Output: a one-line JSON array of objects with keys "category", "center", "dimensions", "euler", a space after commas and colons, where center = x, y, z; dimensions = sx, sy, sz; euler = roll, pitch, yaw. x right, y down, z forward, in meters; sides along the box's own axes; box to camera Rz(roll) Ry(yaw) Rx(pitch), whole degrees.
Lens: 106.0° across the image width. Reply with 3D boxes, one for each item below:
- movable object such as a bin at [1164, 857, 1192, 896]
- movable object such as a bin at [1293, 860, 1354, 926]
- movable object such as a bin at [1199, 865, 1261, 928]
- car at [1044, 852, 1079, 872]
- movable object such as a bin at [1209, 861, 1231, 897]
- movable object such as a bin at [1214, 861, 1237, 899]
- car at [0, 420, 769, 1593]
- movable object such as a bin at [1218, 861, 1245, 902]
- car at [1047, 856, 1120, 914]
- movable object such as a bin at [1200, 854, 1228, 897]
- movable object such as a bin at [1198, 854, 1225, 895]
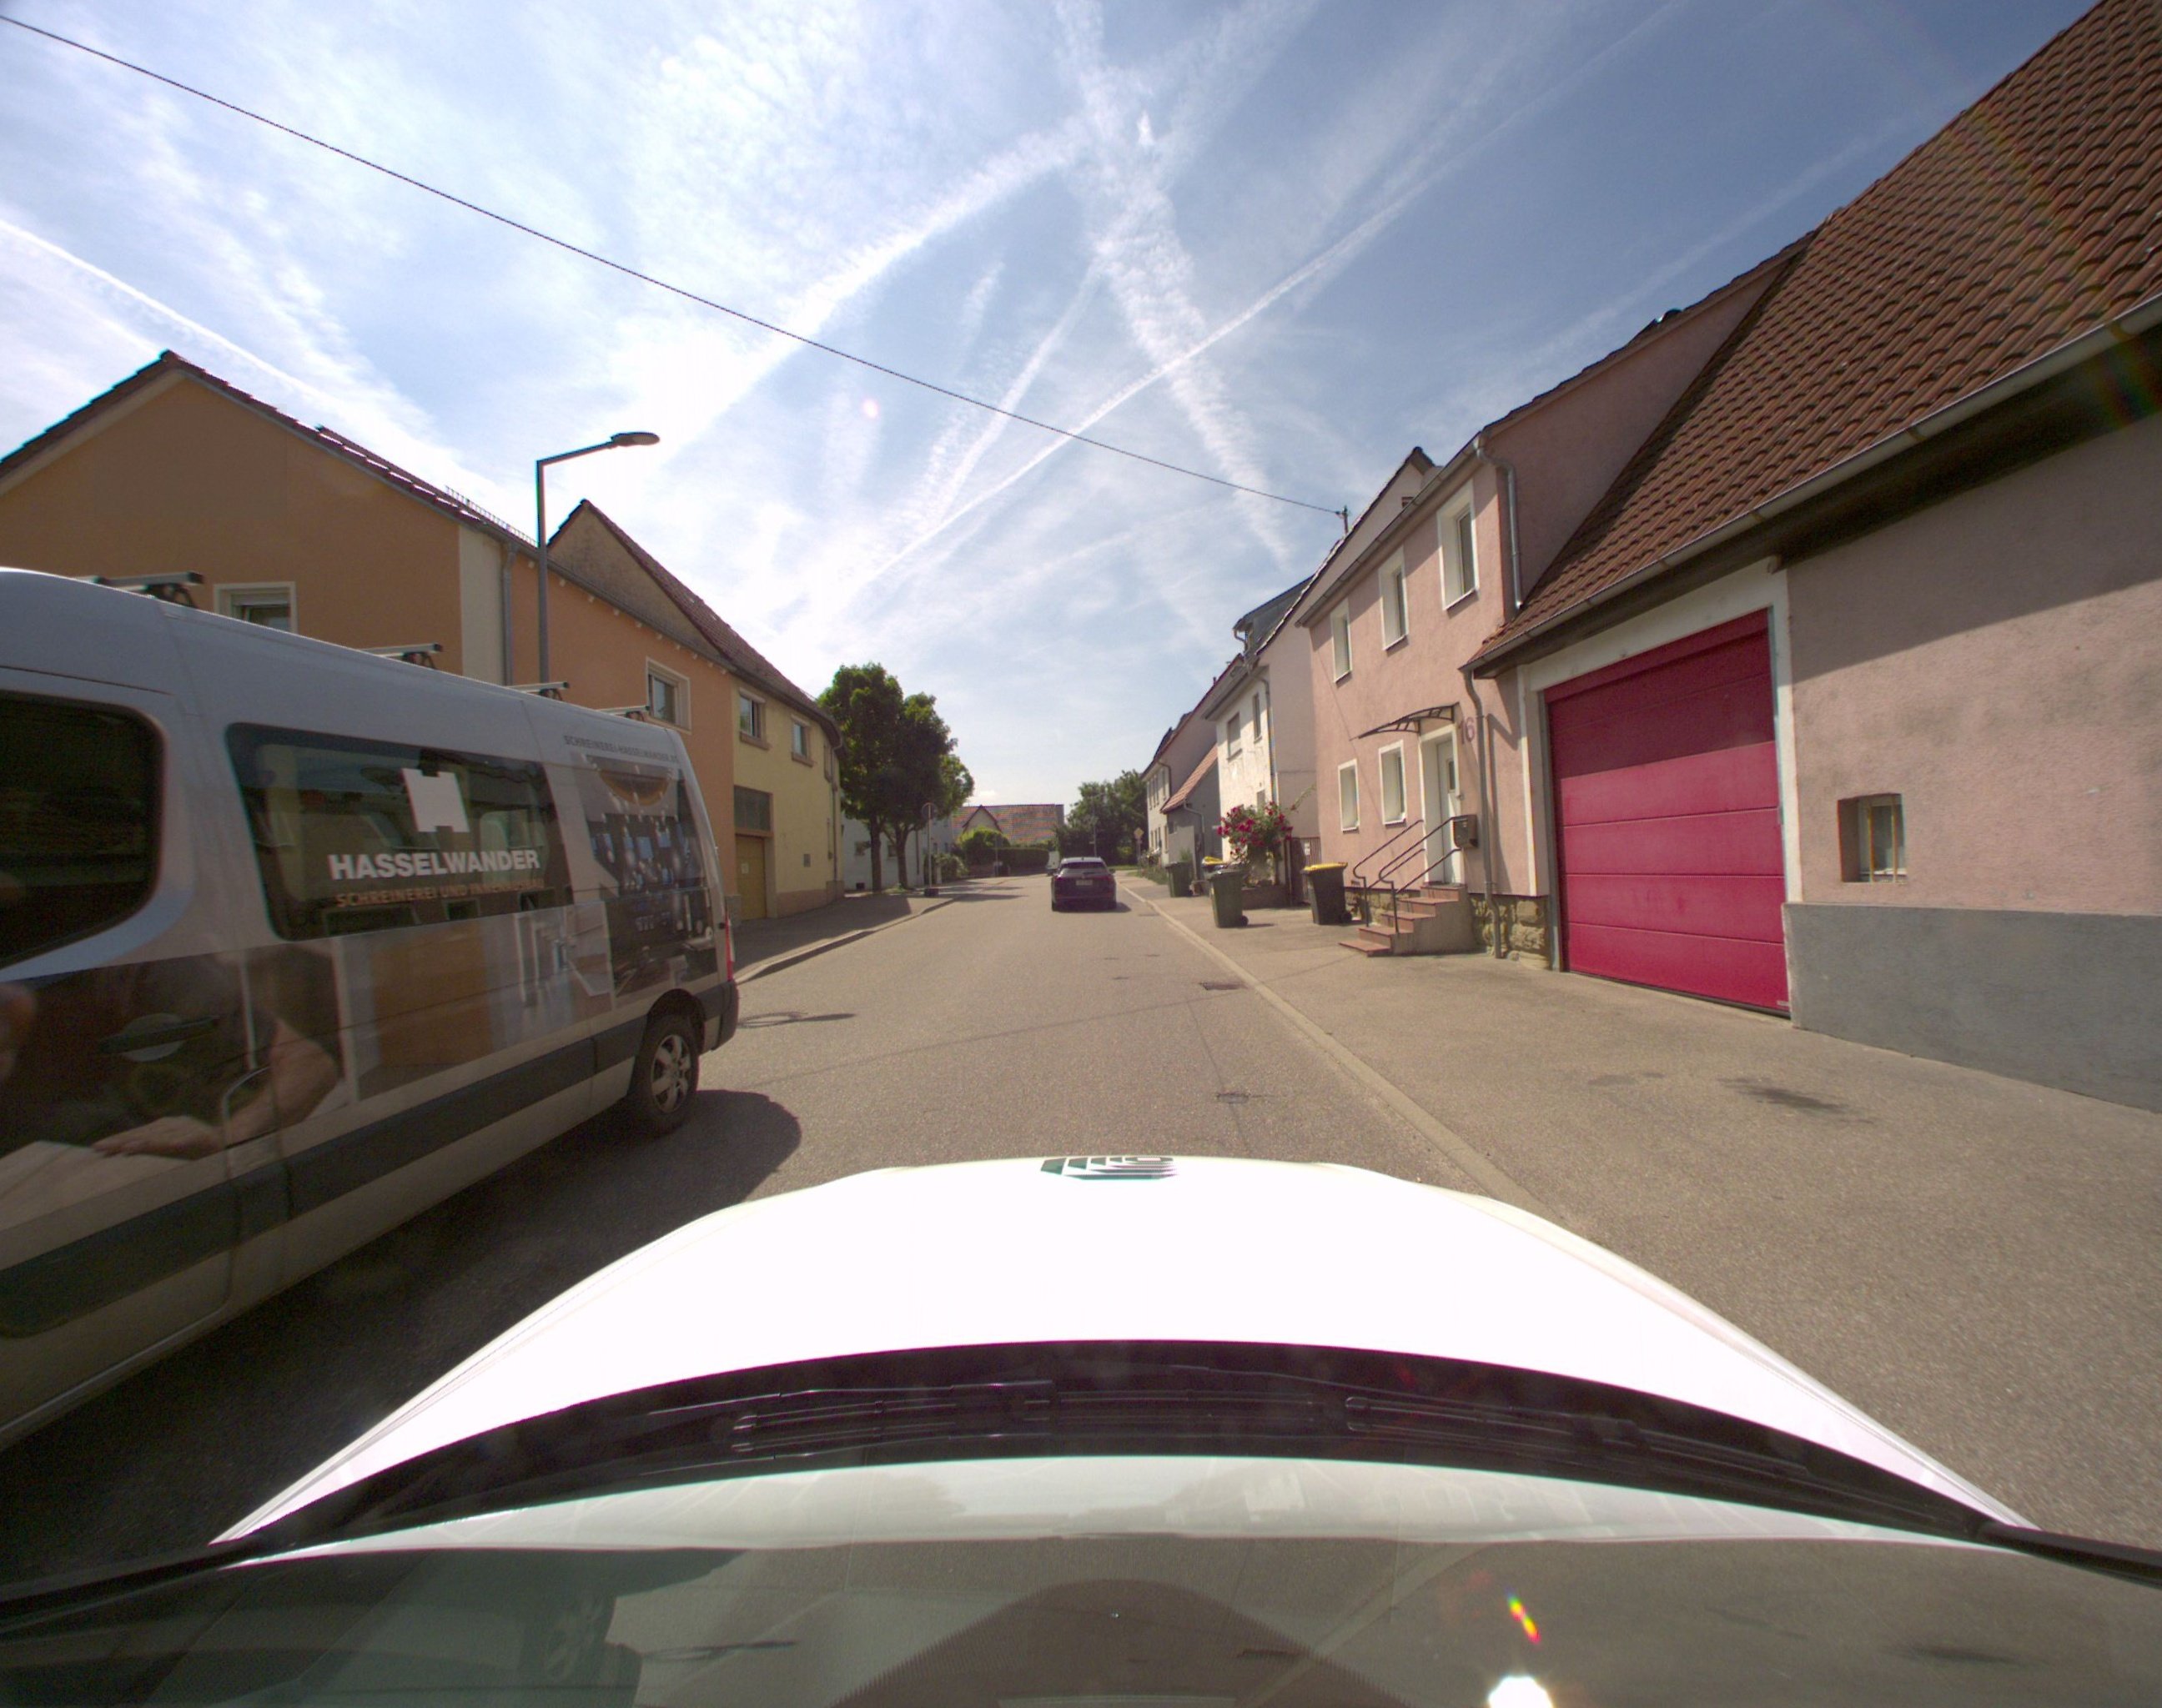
[{"category": "movable object such as a bin", "center": [2.928, 0.676, 24.700], "dimensions": [0.677, 1.155, 0.819], "euler": [-2, 0, -5]}, {"category": "movable object such as a bin", "center": [4.259, 0.662, 14.348], "dimensions": [0.677, 1.050, 0.834], "euler": [-7, 0, -5]}, {"category": "movable object such as a bin", "center": [2.825, 0.789, 15.512], "dimensions": [0.874, 1.074, 0.871], "euler": [-7, 0, -5]}, {"category": "car", "center": [-2.120, 0.849, 90.481], "dimensions": [2.110, 2.013, 4.963], "euler": [-2, 0, 20]}, {"category": "movable object such as a bin", "center": [3.946, 0.711, 23.074], "dimensions": [0.502, 0.993, 0.442], "euler": [-2, 0, -1]}, {"category": "movable object such as a bin", "center": [3.942, 0.714, 22.283], "dimensions": [0.502, 0.993, 0.442], "euler": [-2, 0, -1]}, {"category": "car", "center": [-3.409, 0.354, 2.942], "dimensions": [2.107, 2.562, 5.828], "euler": [-3, 0, 1]}, {"category": "movable object such as a bin", "center": [3.953, 0.713, 21.408], "dimensions": [0.590, 1.040, 0.530], "euler": [-2, 0, -1]}, {"category": "car", "center": [0.084, 0.809, 23.461], "dimensions": [1.835, 1.420, 4.682], "euler": [-2, 0, 0]}, {"category": "movable object such as a bin", "center": [3.862, 0.615, 23.617], "dimensions": [0.663, 1.194, 0.587], "euler": [-2, 0, -1]}, {"category": "movable object such as a bin", "center": [3.891, 0.609, 24.322], "dimensions": [0.663, 1.194, 0.660], "euler": [-2, 0, -1]}]
